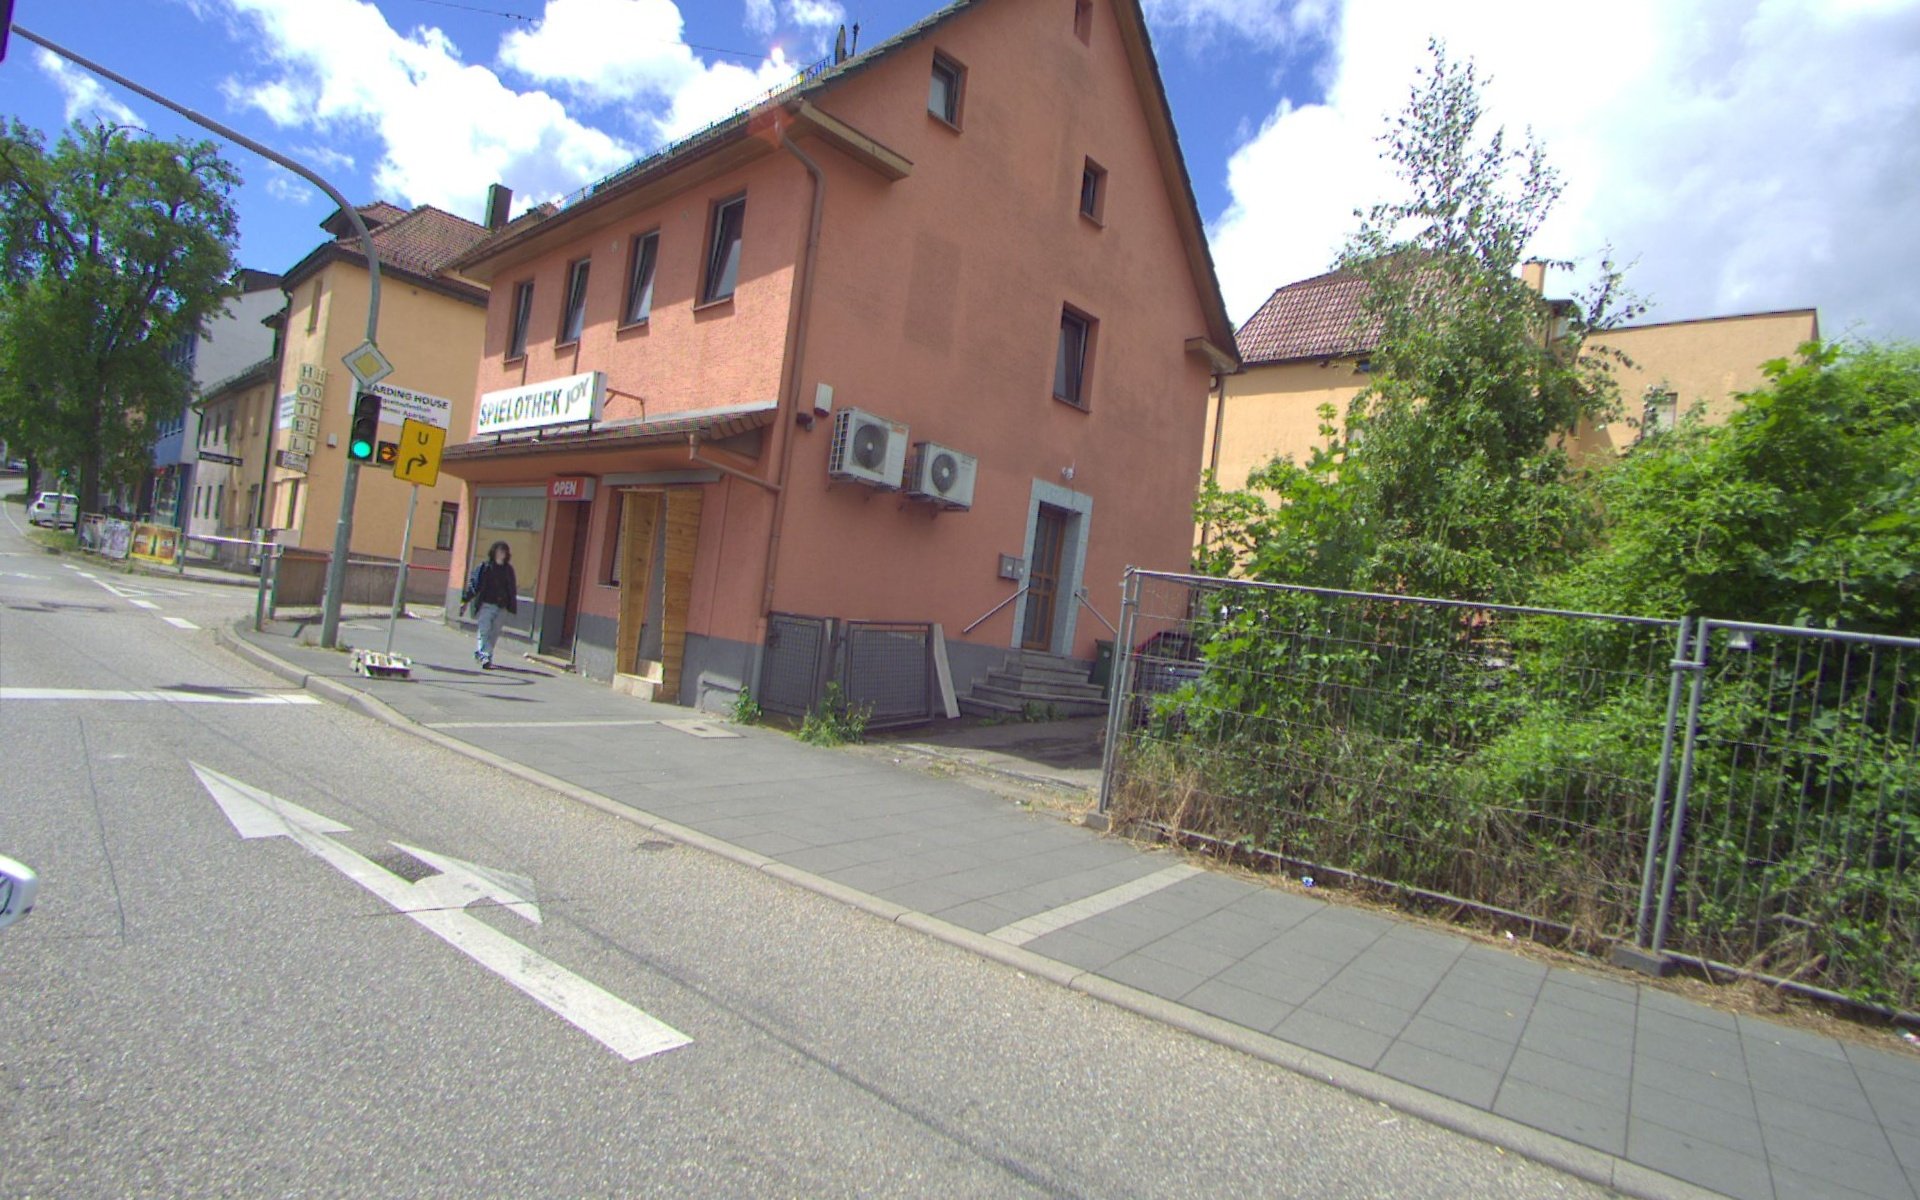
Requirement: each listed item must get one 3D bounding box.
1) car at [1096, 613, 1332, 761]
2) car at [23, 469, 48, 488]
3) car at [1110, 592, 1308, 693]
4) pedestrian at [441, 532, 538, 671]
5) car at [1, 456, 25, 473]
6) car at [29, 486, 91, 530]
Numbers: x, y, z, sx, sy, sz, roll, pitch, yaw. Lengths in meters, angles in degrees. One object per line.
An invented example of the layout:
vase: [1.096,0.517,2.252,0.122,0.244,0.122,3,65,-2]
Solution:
car: [3.294,1.048,12.853,1.627,1.517,2.795,7,3,44]
car: [-97.546,-12.815,106.154,1.812,1.485,3.951,11,-3,-43]
car: [5.871,0.986,23.980,3.948,1.804,1.989,7,0,45]
pedestrian: [-6.072,0.021,12.980,0.767,1.663,0.762,9,2,44]
car: [-144.755,-20.695,153.828,1.982,2.038,3.962,6,0,-35]
car: [-39.494,-4.022,44.123,1.782,1.615,3.950,7,-1,-44]
